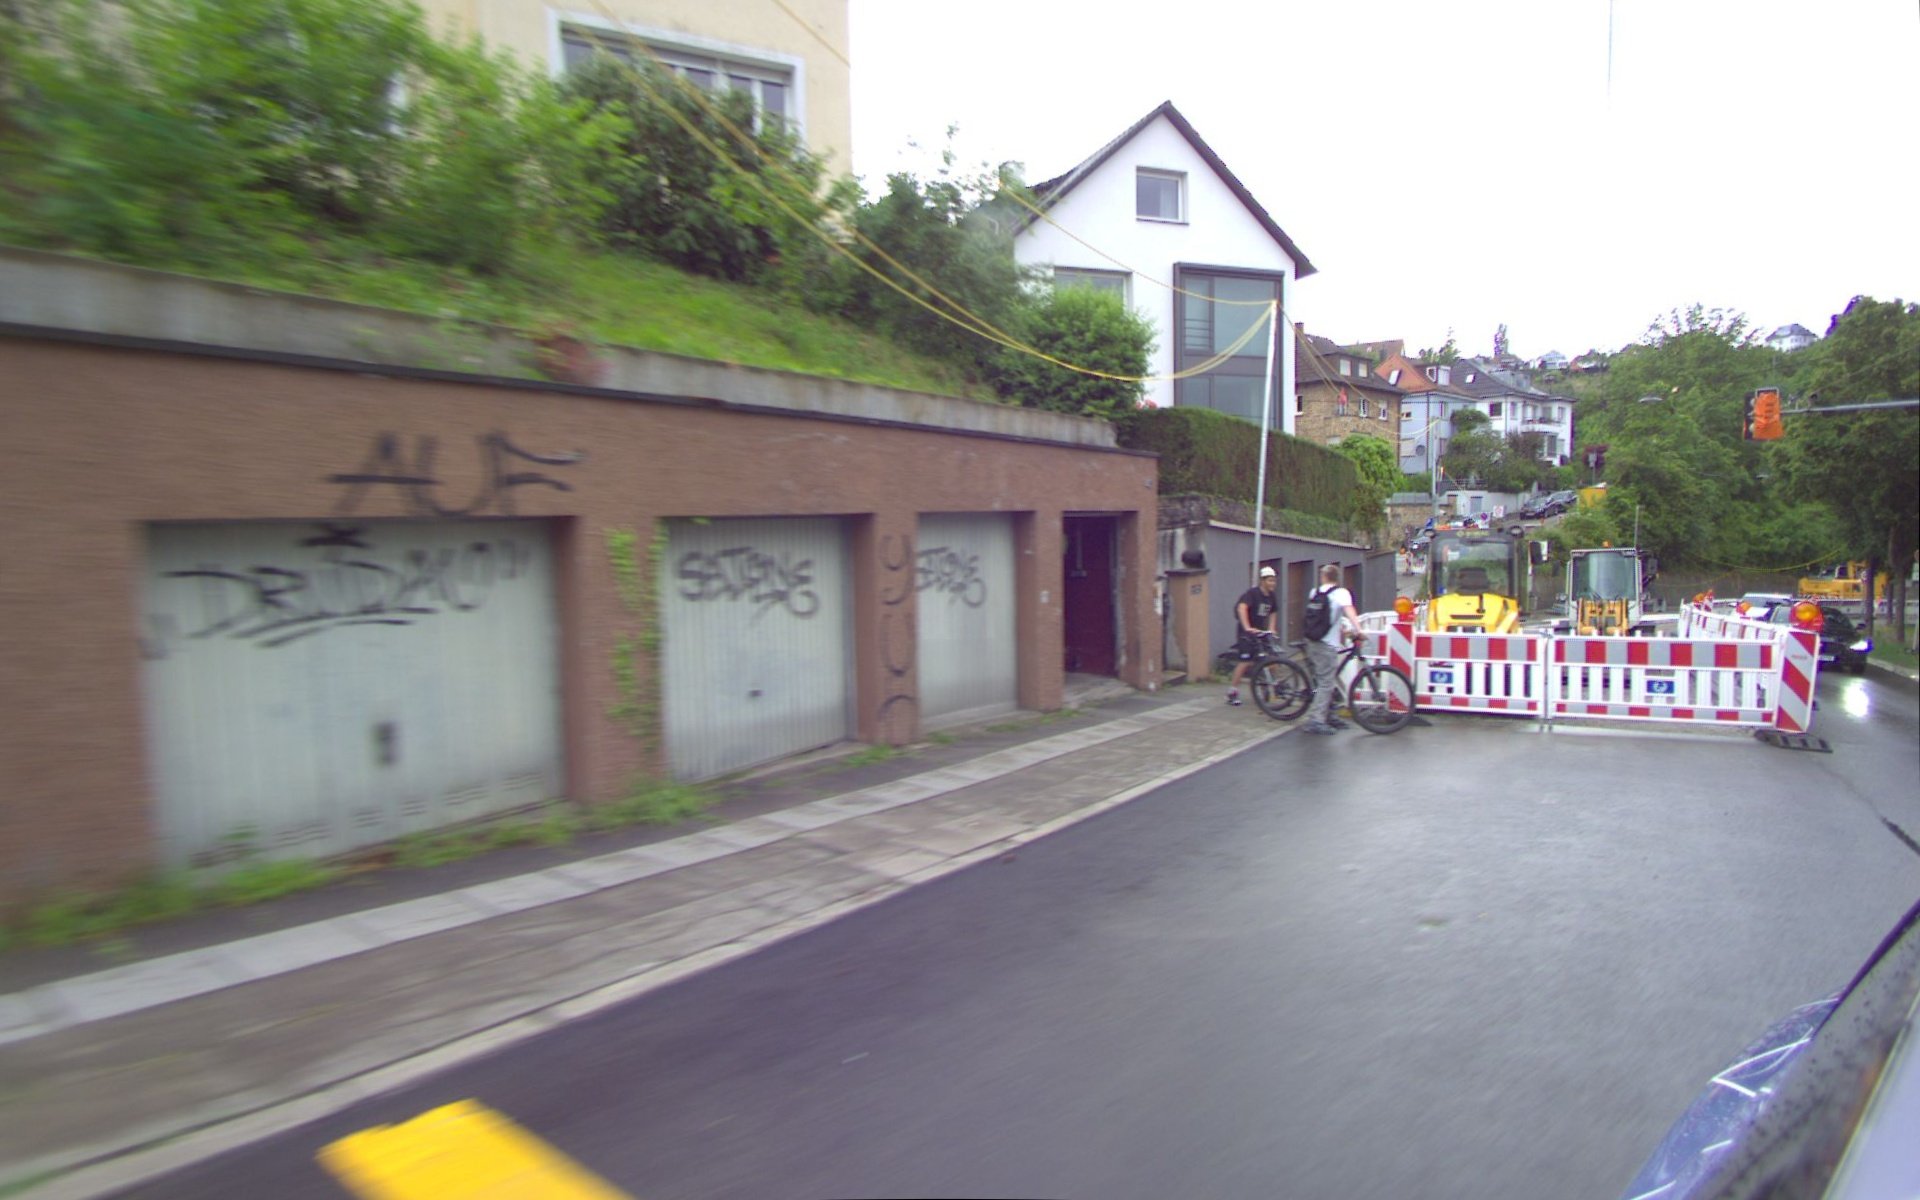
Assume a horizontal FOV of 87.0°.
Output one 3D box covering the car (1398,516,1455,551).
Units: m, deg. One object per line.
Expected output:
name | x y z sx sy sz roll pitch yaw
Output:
car | 28.723 -4.105 62.325 3.775 1.652 1.858 -12 12 -41

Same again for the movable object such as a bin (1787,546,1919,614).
movable object such as a bin | 54.716 -1.218 61.717 7.052 3.885 3.341 1 3 -21

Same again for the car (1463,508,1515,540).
car | 35.888 -5.179 68.631 3.903 1.652 1.858 -12 12 -41

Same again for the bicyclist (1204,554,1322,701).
bicyclist | 3.779 0.305 12.700 0.913 1.750 1.079 0 2 -22

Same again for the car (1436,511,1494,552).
car | 32.843 -4.464 65.749 4.361 2.099 1.899 -12 12 -41

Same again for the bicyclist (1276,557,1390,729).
bicyclist | 4.081 0.421 11.049 1.066 1.750 0.925 2 2 25

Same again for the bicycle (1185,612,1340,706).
bicycle | 3.757 0.693 12.762 0.913 0.993 1.834 0 2 -22

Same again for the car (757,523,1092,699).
car | -0.550 0.007 13.938 4.358 2.036 1.795 2 6 33

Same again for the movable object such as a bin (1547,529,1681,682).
movable object such as a bin | 14.137 -0.081 21.900 2.079 2.872 5.611 3 4 33

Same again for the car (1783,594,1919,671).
car | 20.892 0.693 23.782 1.831 1.420 4.026 4 4 32

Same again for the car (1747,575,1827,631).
car | 29.359 0.031 35.893 1.994 1.729 4.508 5 4 40

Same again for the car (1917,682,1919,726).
car | 9.991 0.753 9.062 1.668 1.483 4.649 4 4 39

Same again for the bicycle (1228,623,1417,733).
bicycle | 3.981 0.808 11.105 1.865 0.993 0.925 2 2 26

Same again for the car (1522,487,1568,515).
car | 43.759 -7.433 75.650 3.904 1.651 1.858 -14 13 -41

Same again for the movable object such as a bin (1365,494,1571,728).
movable object such as a bin | 7.887 0.082 15.366 2.079 2.873 5.609 3 2 33
